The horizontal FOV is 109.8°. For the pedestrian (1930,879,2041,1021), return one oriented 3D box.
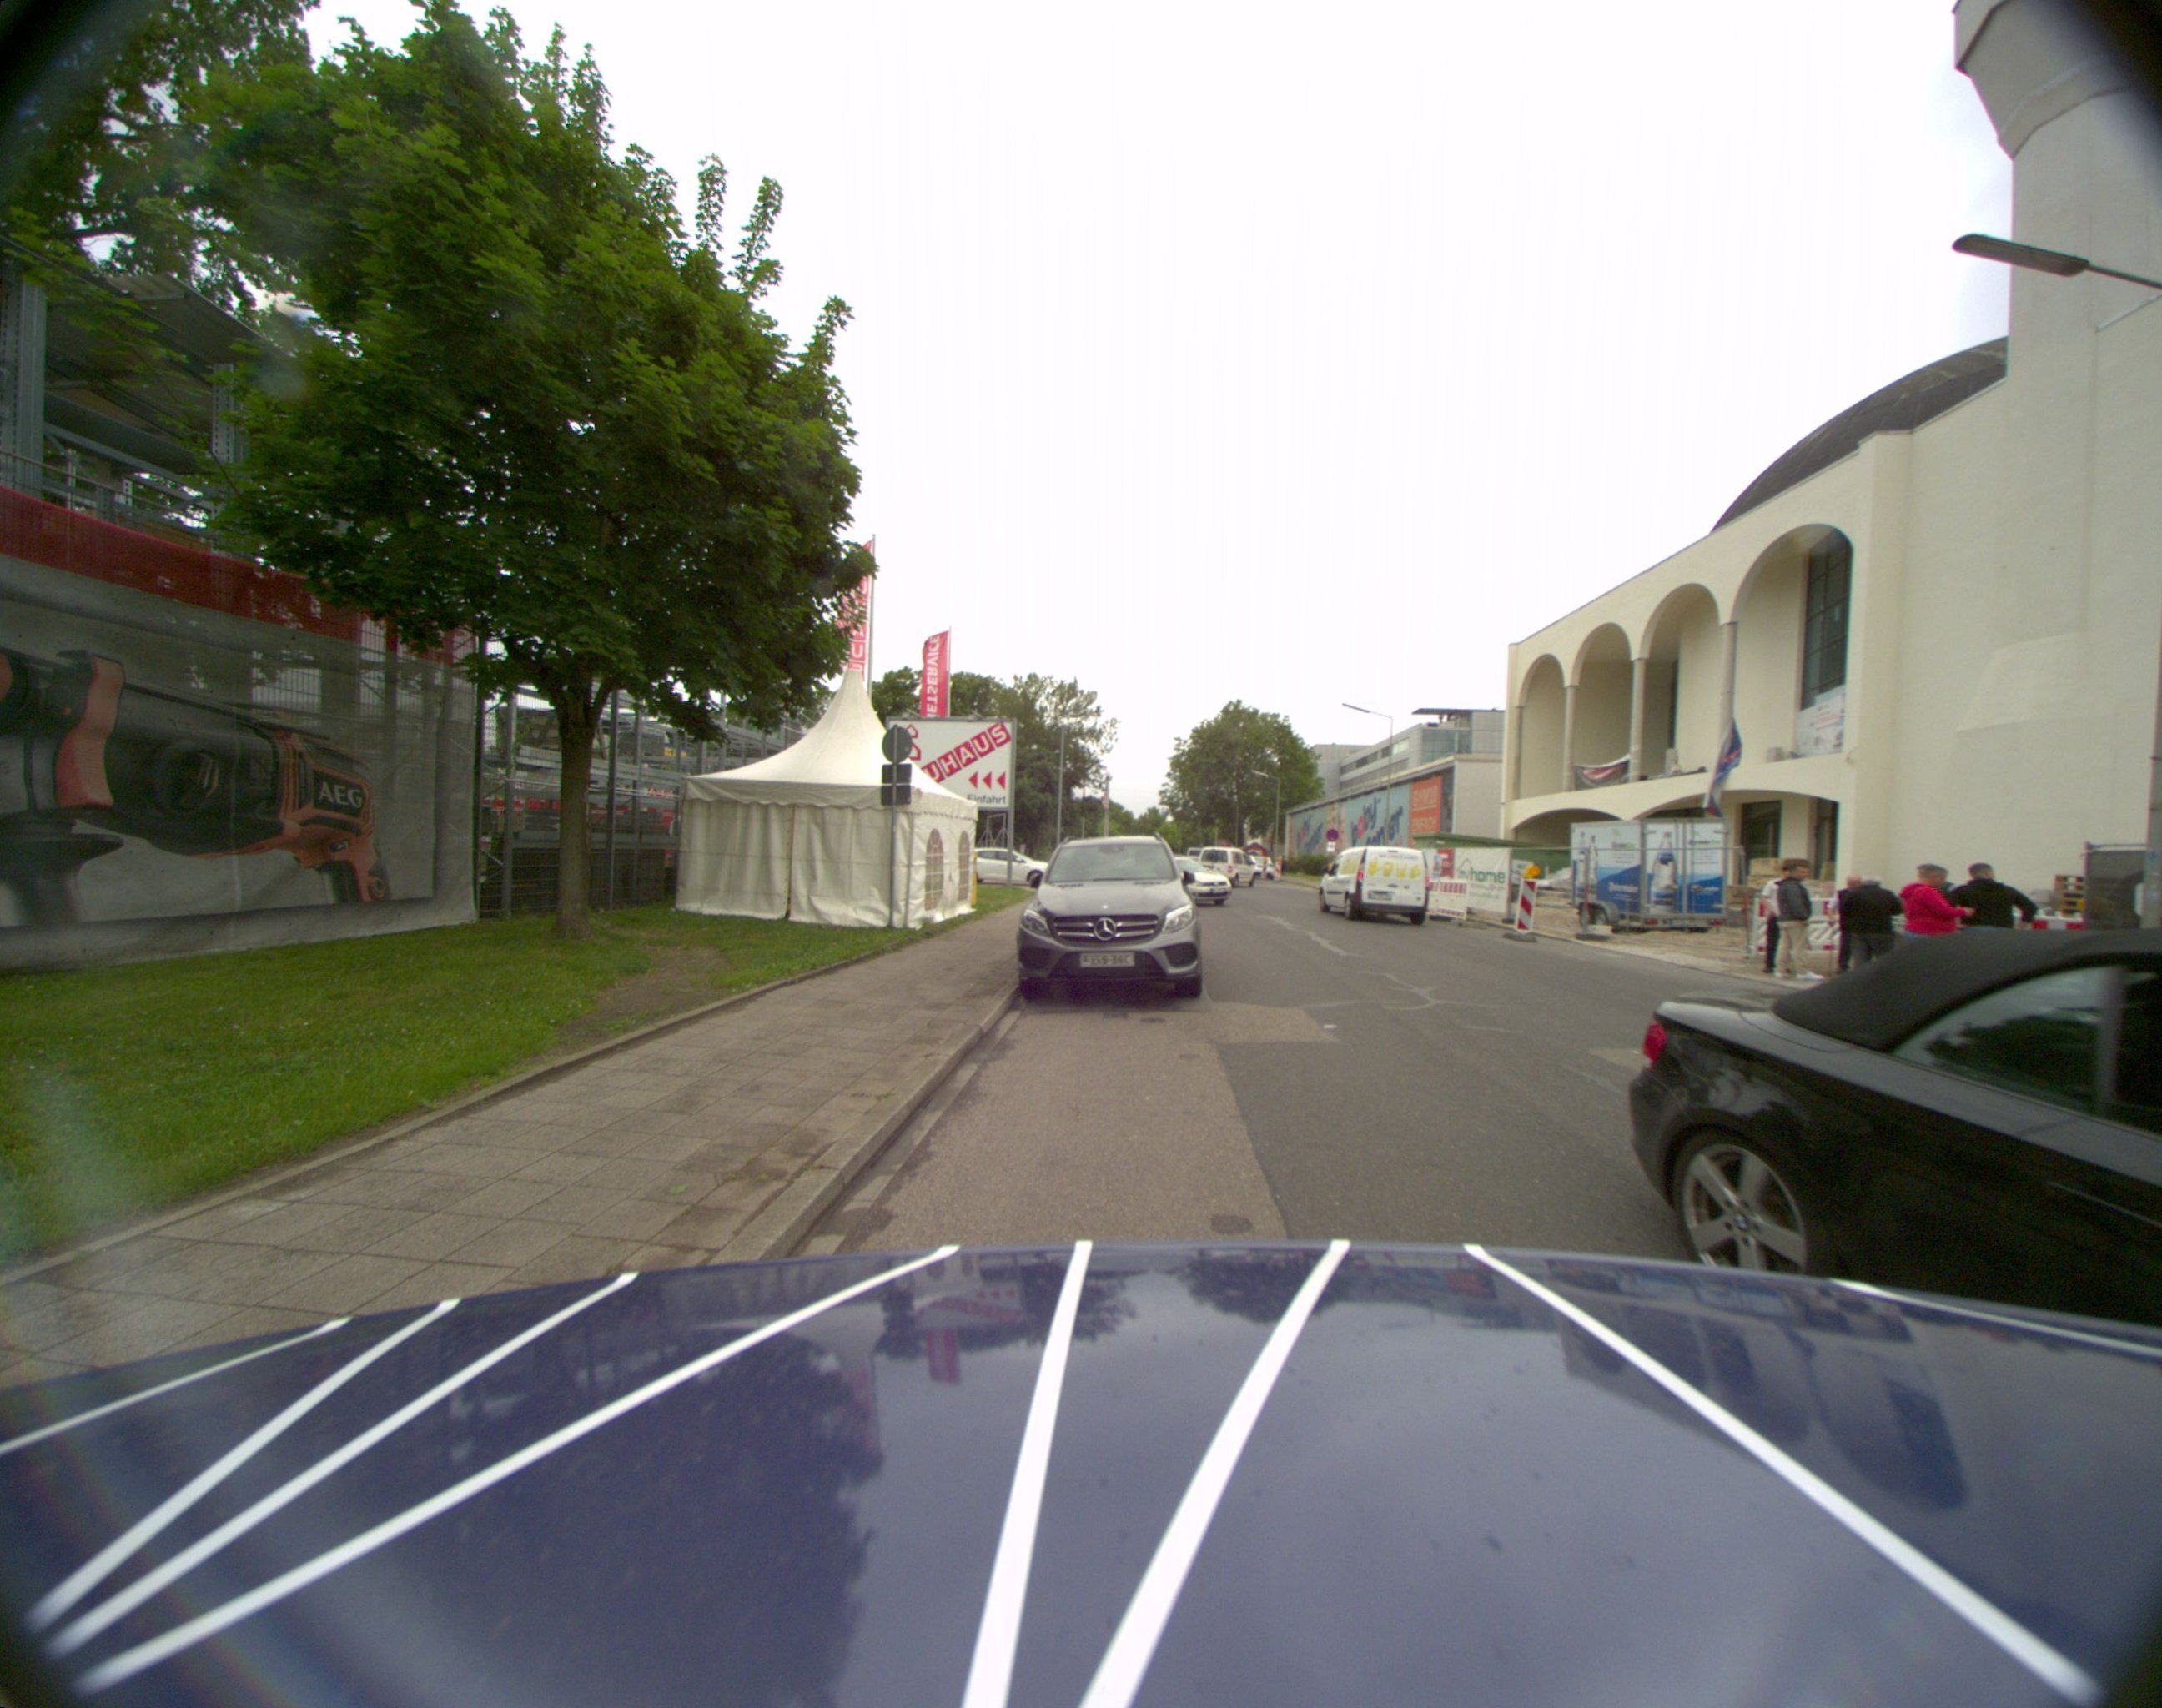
[{"bbox_3d":[11.464,1.180,9.657,0.685,1.707,0.697,-2,-1,32],"label":"pedestrian"}]

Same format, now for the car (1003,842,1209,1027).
[{"bbox_3d":[0.447,0.750,9.412,1.912,1.731,4.481,-1,0,6],"label":"car"}]

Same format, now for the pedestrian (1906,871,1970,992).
[{"bbox_3d":[11.987,1.060,10.632,0.542,1.602,0.489,-1,2,-35],"label":"pedestrian"}]

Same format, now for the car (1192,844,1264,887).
[{"bbox_3d":[6.903,0.508,35.278,1.795,1.797,4.392,4,2,31],"label":"car"}]

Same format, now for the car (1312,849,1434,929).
[{"bbox_3d":[7.227,0.775,19.238,1.693,1.751,4.135,2,1,4],"label":"car"}]

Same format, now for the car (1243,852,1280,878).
[{"bbox_3d":[12.697,0.748,53.701,1.928,1.565,4.151,5,1,6],"label":"car"}]

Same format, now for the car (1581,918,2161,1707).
[{"bbox_3d":[2.865,1.001,1.044,1.749,1.351,4.138,1,1,3],"label":"car"}]

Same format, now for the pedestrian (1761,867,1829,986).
[{"bbox_3d":[10.813,1.076,11.515,0.689,1.738,0.492,-2,-2,44],"label":"pedestrian"}]

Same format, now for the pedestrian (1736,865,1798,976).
[{"bbox_3d":[11.143,1.061,12.348,0.689,1.738,0.492,-2,-2,44],"label":"pedestrian"}]

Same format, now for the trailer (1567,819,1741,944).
[{"bbox_3d":[13.145,0.564,17.704,1.801,2.592,3.193,2,1,8],"label":"trailer"}]

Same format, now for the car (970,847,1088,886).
[{"bbox_3d":[-2.049,0.476,30.725,4.489,1.420,1.940,1,2,7],"label":"car"}]

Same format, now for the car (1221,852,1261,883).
[{"bbox_3d":[9.197,0.744,43.921,1.732,1.563,3.947,3,1,5],"label":"car"}]

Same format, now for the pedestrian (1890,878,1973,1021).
[{"bbox_3d":[10.465,1.143,9.357,0.533,1.682,0.512,0,-2,-26],"label":"pedestrian"}]

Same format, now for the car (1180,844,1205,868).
[{"bbox_3d":[10.100,0.177,68.945,1.931,2.002,4.956,2,1,6],"label":"car"}]

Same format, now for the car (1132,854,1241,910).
[{"bbox_3d":[3.084,0.776,23.244,1.760,1.443,4.290,-1,1,-15],"label":"car"}]

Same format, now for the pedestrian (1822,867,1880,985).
[{"bbox_3d":[11.732,1.078,11.580,0.492,1.738,0.527,1,-2,-38],"label":"pedestrian"}]

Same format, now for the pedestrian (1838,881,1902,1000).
[{"bbox_3d":[11.029,1.177,10.638,0.570,1.601,0.492,-2,-2,44],"label":"pedestrian"}]

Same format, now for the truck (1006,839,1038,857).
[{"bbox_3d":[-8.178,-0.803,105.312,1.994,2.383,4.009,3,1,45],"label":"truck"}]

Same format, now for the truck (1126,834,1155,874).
[{"bbox_3d":[4.083,-0.025,51.910,1.852,2.598,4.001,-1,1,5],"label":"truck"}]

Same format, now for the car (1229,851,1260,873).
[{"bbox_3d":[13.333,0.585,62.126,1.928,1.565,4.151,5,1,6],"label":"car"}]
